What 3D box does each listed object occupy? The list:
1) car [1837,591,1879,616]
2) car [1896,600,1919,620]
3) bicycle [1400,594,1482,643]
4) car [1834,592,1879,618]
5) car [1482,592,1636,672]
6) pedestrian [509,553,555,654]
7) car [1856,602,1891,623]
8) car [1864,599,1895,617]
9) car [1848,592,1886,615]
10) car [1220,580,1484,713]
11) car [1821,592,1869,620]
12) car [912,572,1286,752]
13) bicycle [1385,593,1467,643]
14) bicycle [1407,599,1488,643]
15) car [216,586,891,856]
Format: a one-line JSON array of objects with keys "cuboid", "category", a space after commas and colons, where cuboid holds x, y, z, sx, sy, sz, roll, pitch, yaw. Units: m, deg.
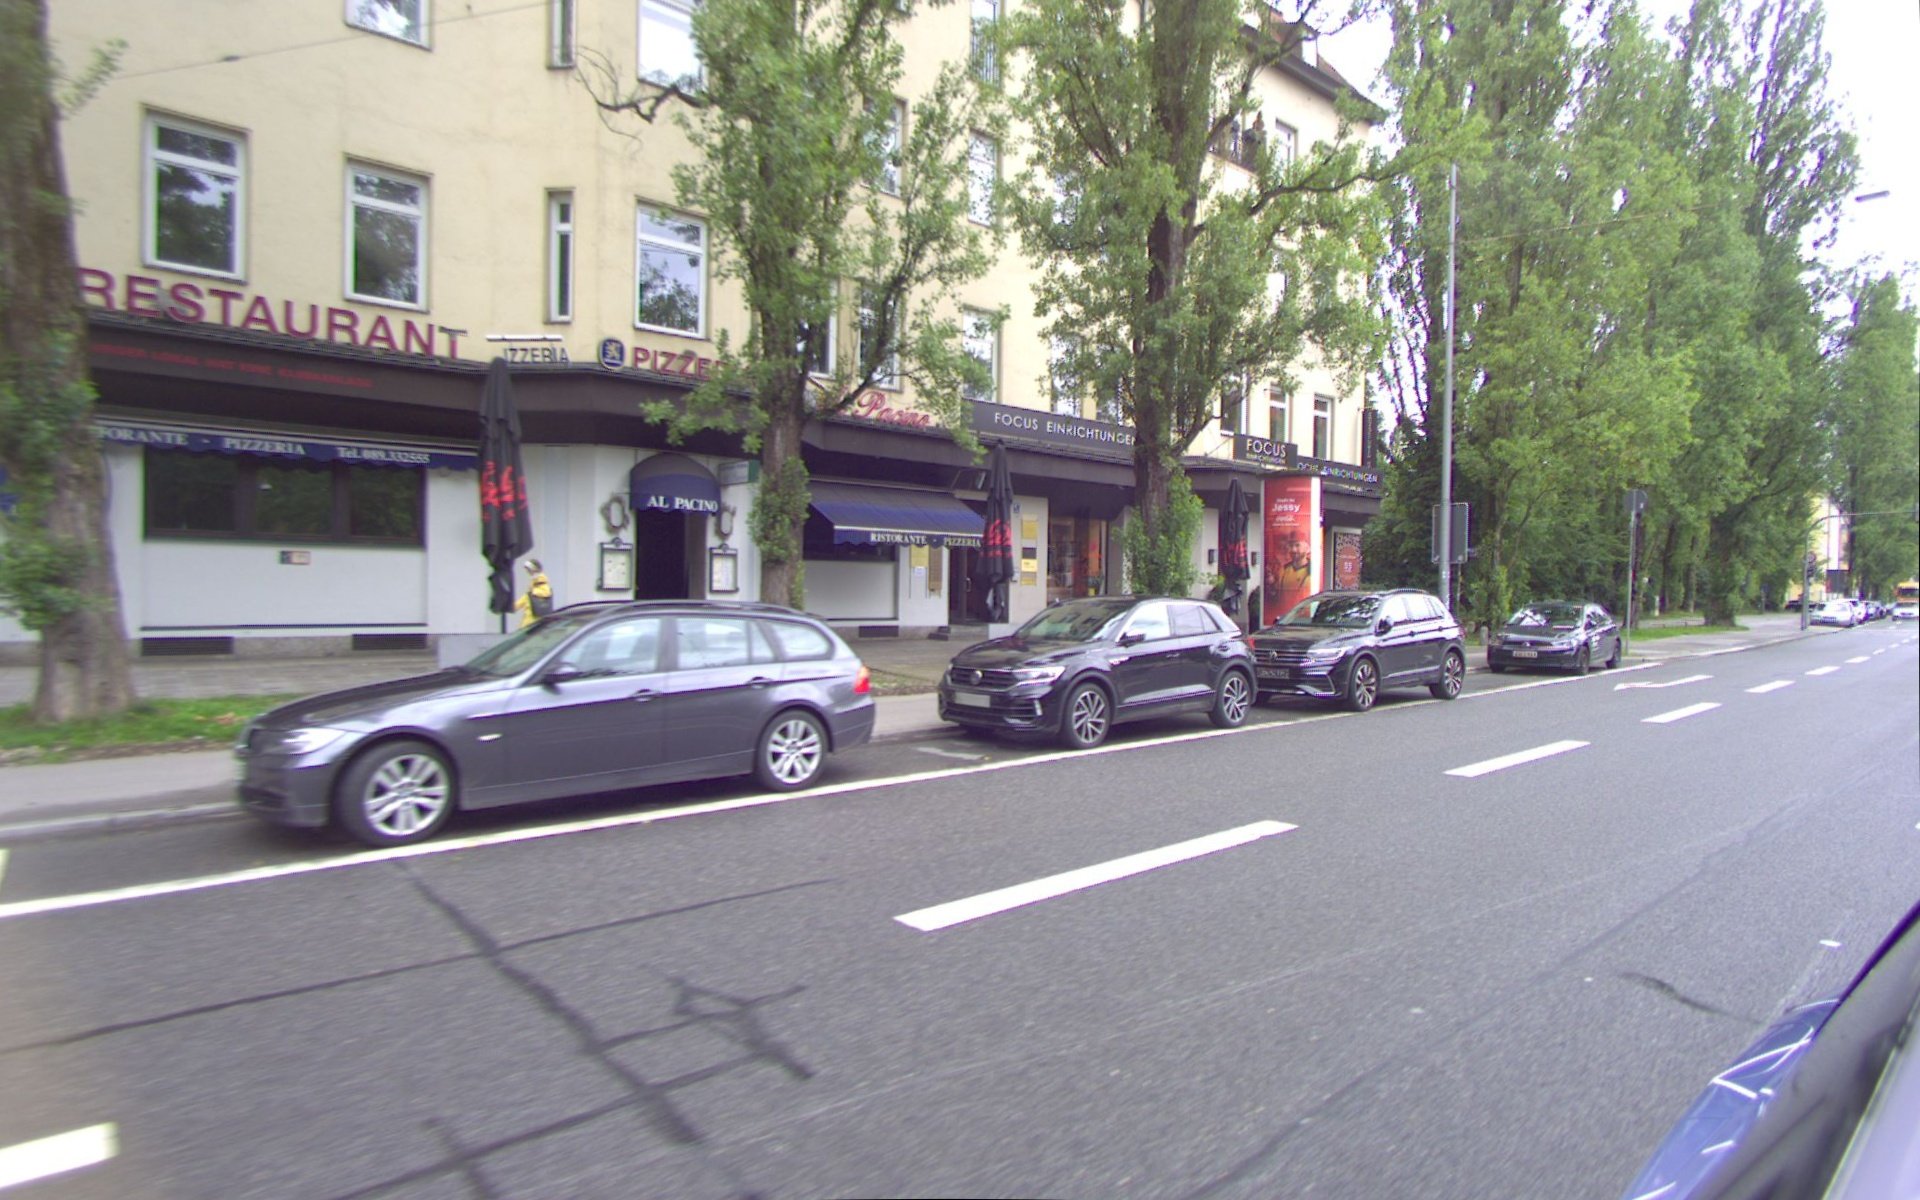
[{"cuboid": [57.035, 0.221, 64.252, 4.072, 1.504, 1.782, 0, 1, -45], "category": "car"}, {"cuboid": [74.539, 0.787, 79.184, 4.072, 1.504, 1.782, 0, 1, -45], "category": "car"}, {"cuboid": [12.619, 0.471, 26.605, 0.488, 1.200, 1.885, 0, 1, -43], "category": "bicycle"}, {"cuboid": [53.806, 0.257, 60.727, 1.781, 1.504, 4.190, 1, 1, 45], "category": "car"}, {"cuboid": [12.515, 0.584, 21.042, 3.934, 1.484, 1.801, 0, 1, -44], "category": "car"}, {"cuboid": [-6.861, 0.055, 16.230, 0.486, 1.582, 0.574, 3, -1, -39], "category": "pedestrian"}, {"cuboid": [69.301, 0.946, 76.751, 4.072, 1.504, 1.782, 0, 1, -45], "category": "car"}, {"cuboid": [80.710, 0.658, 88.816, 4.072, 1.504, 1.782, 0, 1, -45], "category": "car"}, {"cuboid": [64.523, 0.226, 71.987, 4.072, 1.504, 1.782, 0, 1, -45], "category": "car"}, {"cuboid": [5.792, 0.563, 14.697, 4.392, 1.632, 1.724, 0, 1, -41], "category": "car"}, {"cuboid": [49.386, 0.319, 56.462, 1.781, 1.504, 4.283, 1, 1, 44], "category": "car"}, {"cuboid": [1.686, 0.541, 11.326, 4.230, 1.632, 1.803, 0, 1, -41], "category": "car"}, {"cuboid": [12.046, 0.450, 26.215, 0.488, 1.200, 1.885, 0, 1, -43], "category": "bicycle"}, {"cuboid": [12.978, 0.539, 26.982, 0.488, 1.095, 1.885, 0, 1, -43], "category": "bicycle"}, {"cuboid": [-2.770, 0.628, 7.500, 4.305, 1.416, 1.803, 0, 1, -41], "category": "car"}]
